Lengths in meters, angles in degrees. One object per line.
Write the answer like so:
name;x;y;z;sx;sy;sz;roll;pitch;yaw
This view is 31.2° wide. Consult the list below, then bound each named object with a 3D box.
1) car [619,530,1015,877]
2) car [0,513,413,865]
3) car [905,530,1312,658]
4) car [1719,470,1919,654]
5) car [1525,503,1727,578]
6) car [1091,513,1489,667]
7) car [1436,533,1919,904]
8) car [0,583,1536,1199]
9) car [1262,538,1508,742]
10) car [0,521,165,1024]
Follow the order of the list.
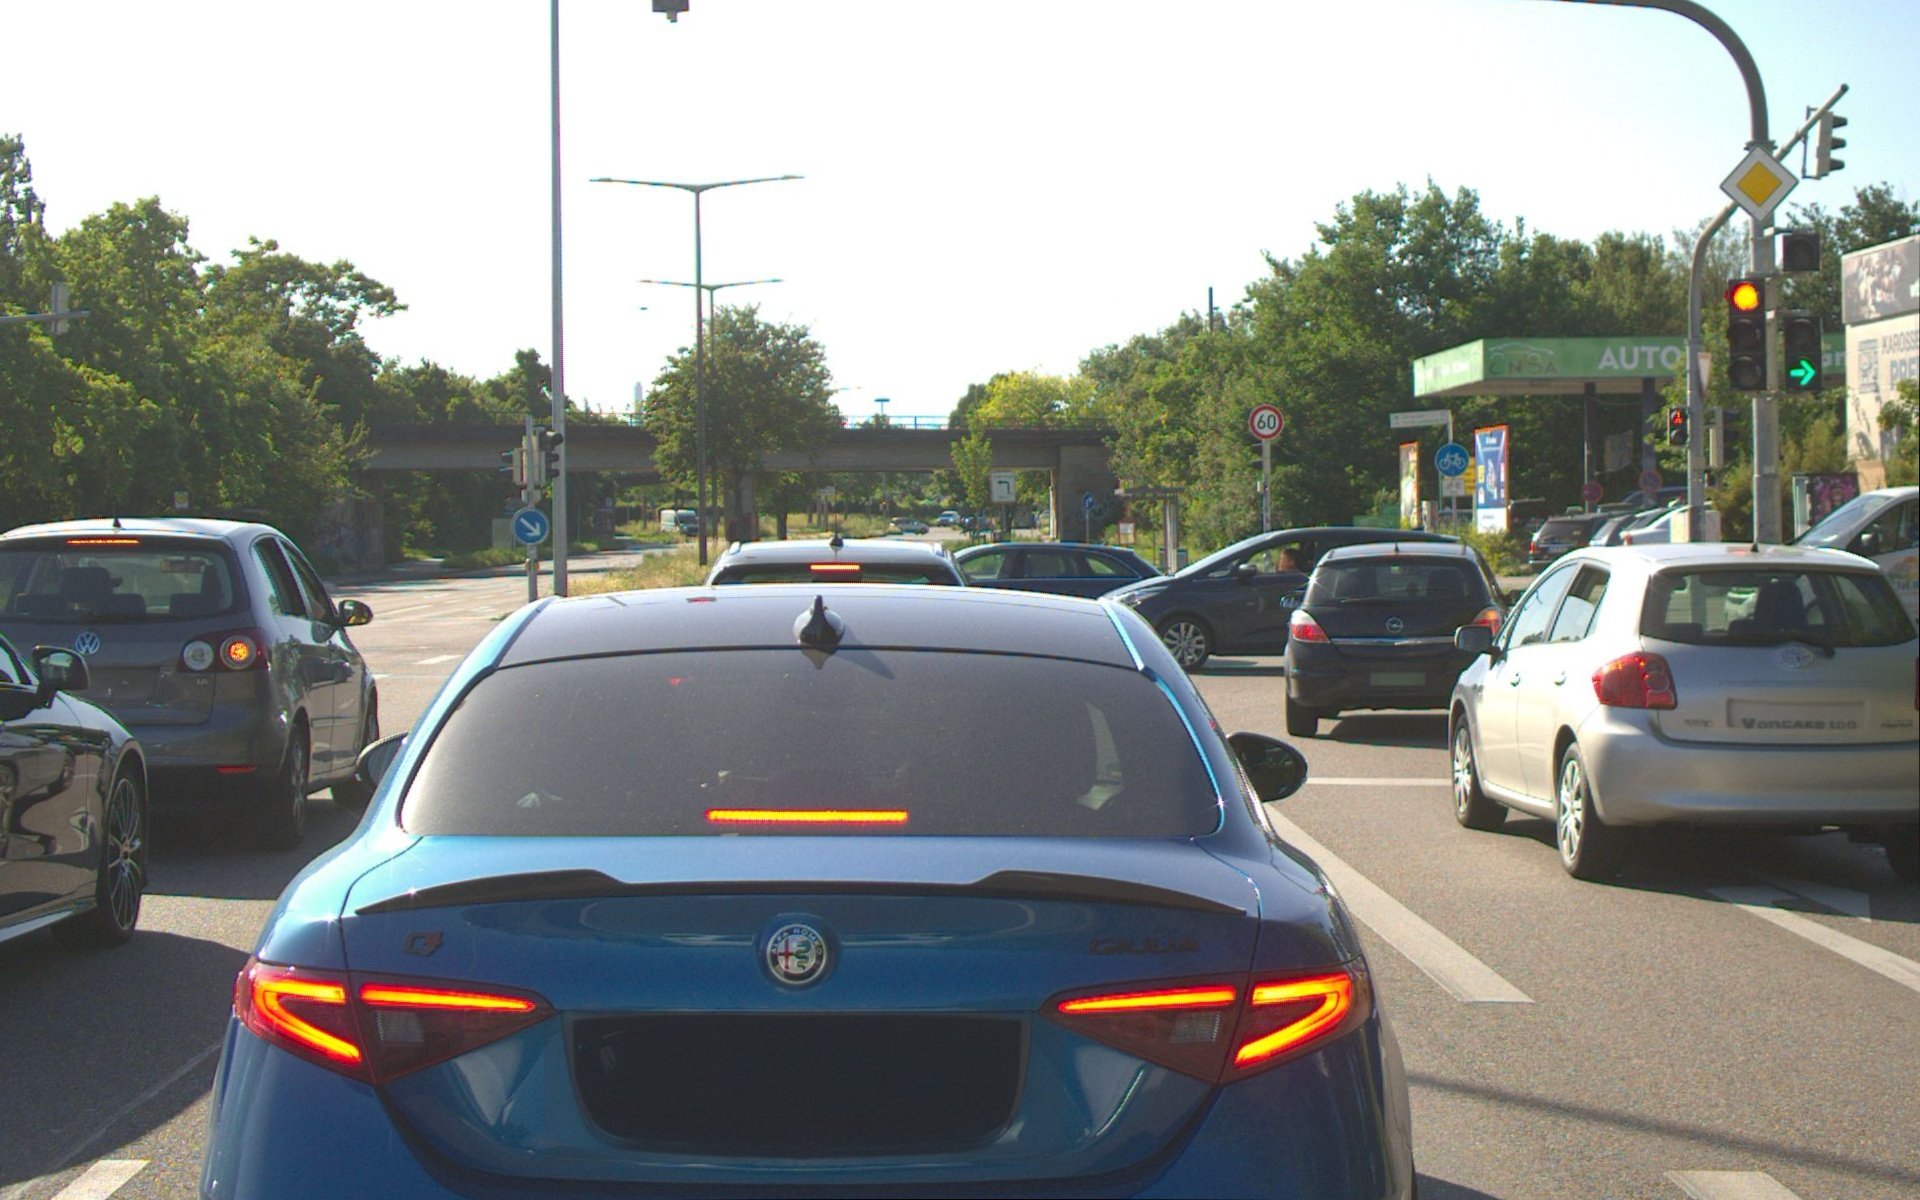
car;-0.596;0.435;16.897;1.704;1.492;3.719;1;0;1
car;-3.962;0.371;17.413;1.812;1.546;4.354;1;1;-2
car;1.767;-0.079;42.018;4.818;1.463;1.759;1;0;-2
car;11.424;-0.462;39.505;4.954;2.029;1.881;-1;1;-1
car;14.444;-1.293;74.686;3.987;1.547;2.000;1;0;1
car;3.690;-0.116;38.942;4.306;1.644;1.638;1;0;-1
car;3.506;0.463;16.551;1.783;1.531;4.108;1;1;-1
car;-0.221;0.700;6.113;1.910;1.418;3.719;1;0;1
car;3.393;0.256;26.916;1.735;1.437;4.370;1;1;9
car;-3.852;0.521;10.654;1.812;1.546;4.544;0;1;-1
